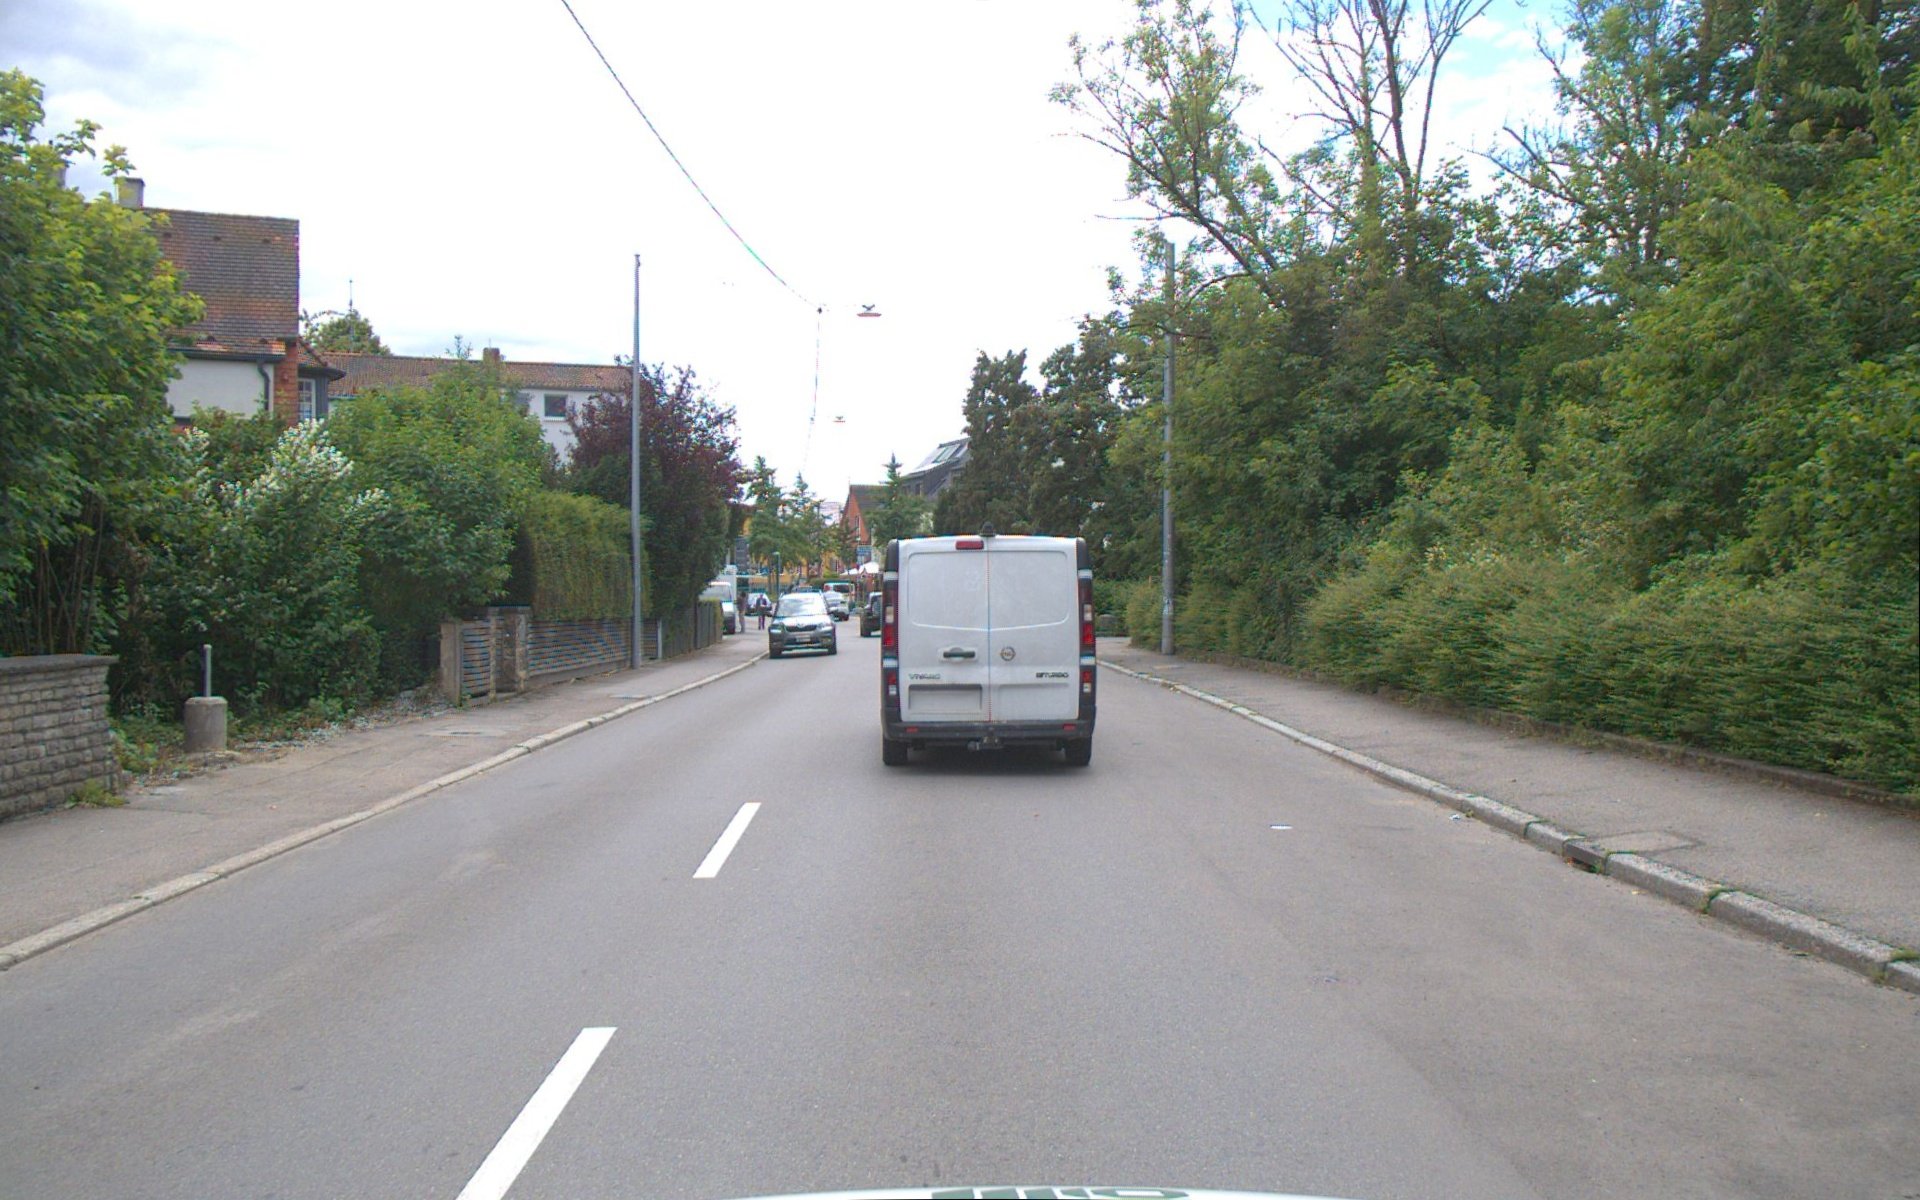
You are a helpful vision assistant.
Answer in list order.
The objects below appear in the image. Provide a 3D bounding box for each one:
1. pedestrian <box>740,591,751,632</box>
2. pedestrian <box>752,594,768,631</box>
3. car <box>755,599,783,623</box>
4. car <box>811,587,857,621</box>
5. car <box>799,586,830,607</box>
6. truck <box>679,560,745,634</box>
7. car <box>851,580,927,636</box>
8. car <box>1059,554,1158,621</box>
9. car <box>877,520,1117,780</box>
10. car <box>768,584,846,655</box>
[{"bbox_3d":[-8.933,0.479,68.853,0.394,1.724,0.596,1,-1,-11],"label":"pedestrian"},{"bbox_3d":[-9.374,0.595,77.455,0.709,1.716,1.108,1,0,-6],"label":"pedestrian"},{"bbox_3d":[-12.884,0.733,111.838,1.661,1.457,3.923,-4,0,-5],"label":"car"},{"bbox_3d":[-7.300,0.235,95.176,1.960,1.813,3.985,-2,0,-14],"label":"car"},{"bbox_3d":[-11.153,-0.251,126.652,1.714,1.521,3.638,1,0,-17],"label":"car"},{"bbox_3d":[-10.313,-0.123,68.296,2.428,2.890,6.690,-1,0,-11],"label":"truck"},{"bbox_3d":[-2.589,0.286,59.686,1.960,1.880,3.985,-2,0,-14],"label":"car"},{"bbox_3d":[6.334,-0.525,71.064,2.458,2.729,5.161,1,0,-17],"label":"car"},{"bbox_3d":[0.270,0.402,15.549,1.877,2.037,4.437,-2,0,-1],"label":"car"},{"bbox_3d":[-4.037,0.506,44.267,1.804,1.684,4.136,-4,0,-3],"label":"car"}]
